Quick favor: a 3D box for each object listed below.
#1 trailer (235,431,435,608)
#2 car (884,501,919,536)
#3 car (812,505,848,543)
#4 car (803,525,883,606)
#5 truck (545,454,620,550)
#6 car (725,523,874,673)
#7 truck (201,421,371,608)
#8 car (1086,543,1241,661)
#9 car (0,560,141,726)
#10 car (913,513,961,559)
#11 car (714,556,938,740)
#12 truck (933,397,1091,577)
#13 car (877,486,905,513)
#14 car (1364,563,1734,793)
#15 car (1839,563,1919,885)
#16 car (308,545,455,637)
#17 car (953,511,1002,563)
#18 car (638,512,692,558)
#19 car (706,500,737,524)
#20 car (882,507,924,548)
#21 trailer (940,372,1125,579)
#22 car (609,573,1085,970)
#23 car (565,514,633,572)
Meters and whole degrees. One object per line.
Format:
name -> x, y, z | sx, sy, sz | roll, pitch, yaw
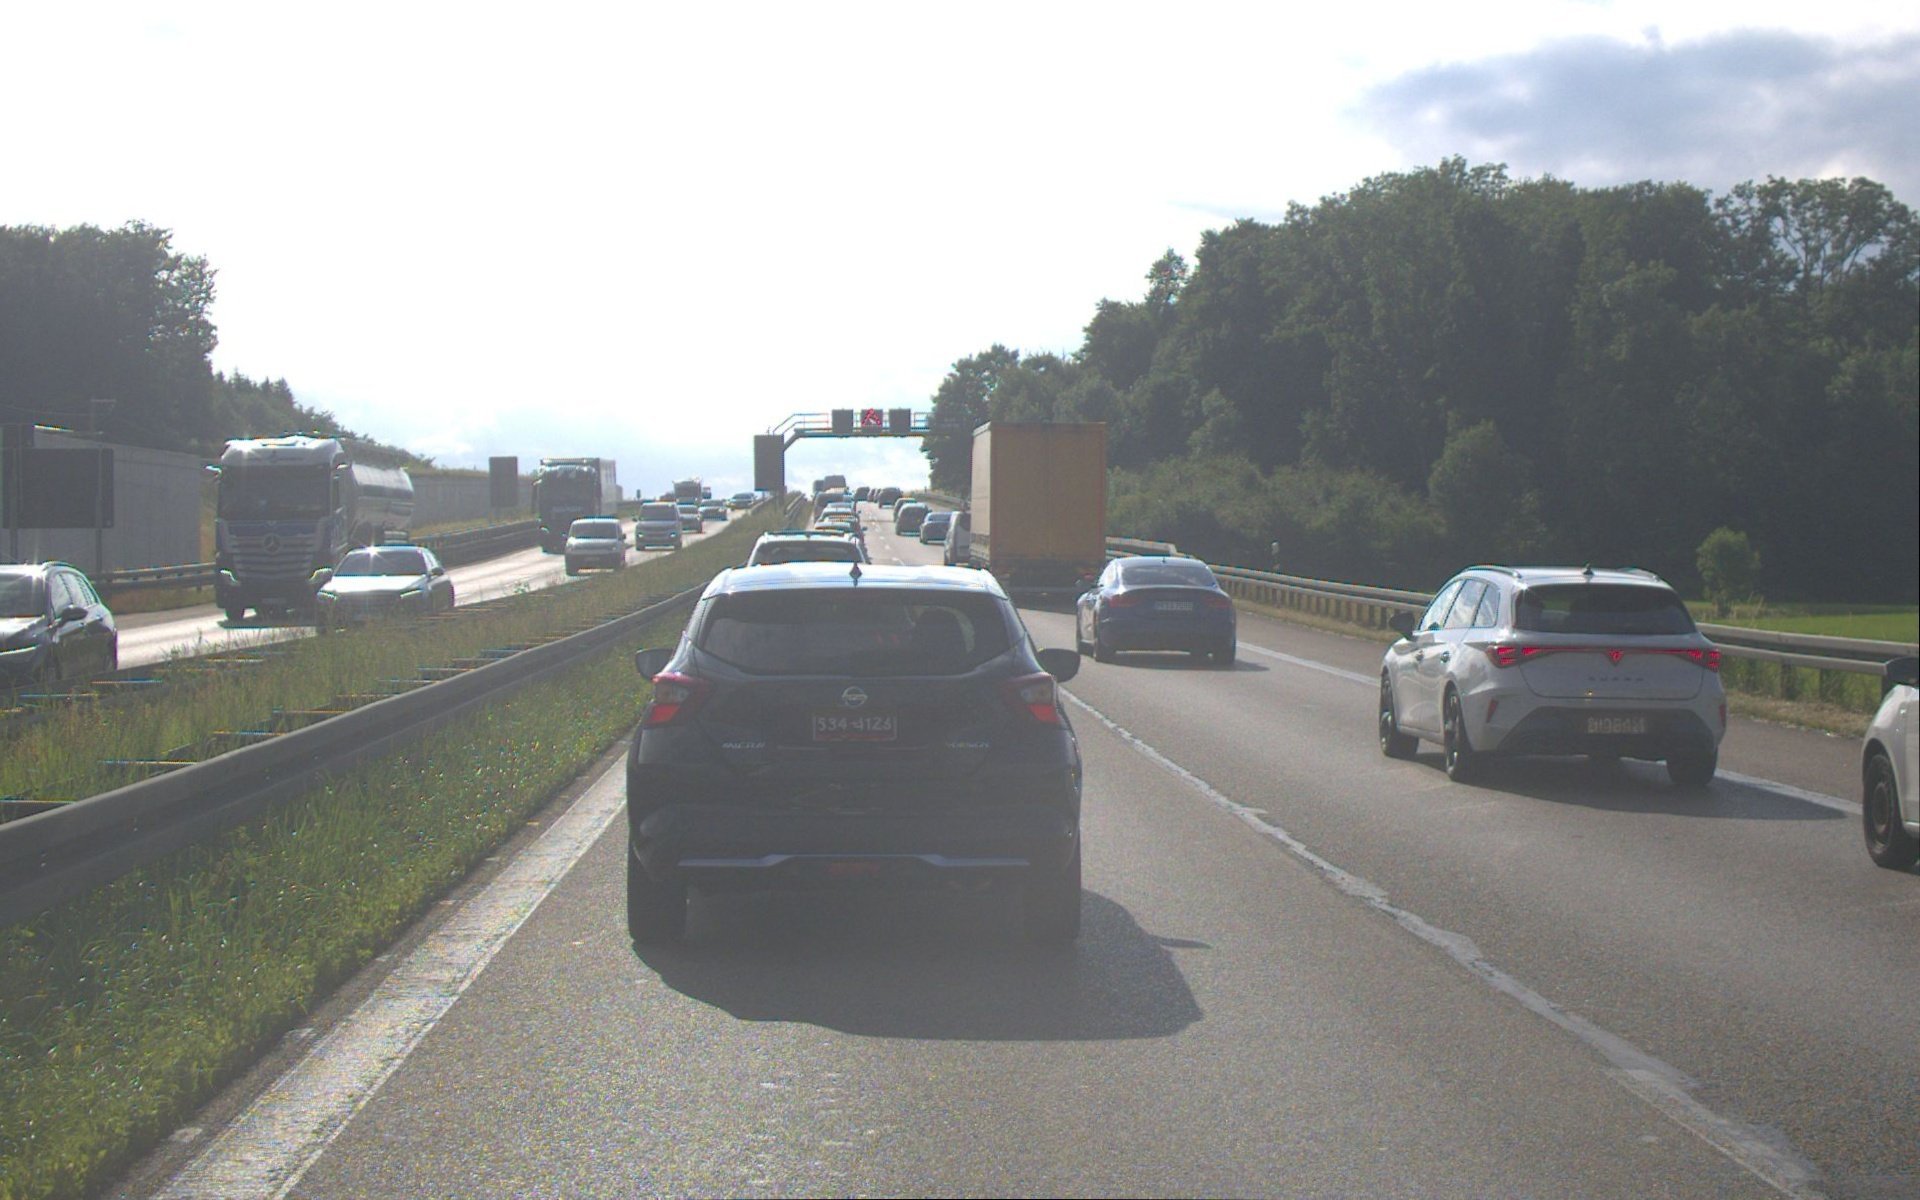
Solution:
trailer -> -14.429, -1.787, 80.364 | 2.540, 3.758, 12.542 | -1, 0, -1
car -> -3.555, -4.933, 207.734 | 1.993, 2.007, 4.000 | 1, 0, -3
car -> -7.297, -4.248, 192.873 | 1.993, 2.007, 4.000 | 1, 0, -3
car -> -3.046, -0.888, 89.111 | 1.993, 2.007, 4.000 | 1, 0, -3
truck -> -16.647, -4.279, 151.918 | 2.754, 4.076, 6.954 | 0, 0, -2
car -> -1.903, -0.030, 41.664 | 1.674, 1.720, 3.596 | 1, 0, -1
truck -> -14.283, -1.775, 73.190 | 2.552, 3.785, 5.417 | -1, 0, -1
car -> 2.658, 0.011, 45.701 | 1.747, 1.470, 4.147 | 1, 0, -1
car -> -9.318, 0.354, 32.789 | 1.993, 1.481, 4.398 | 1, 0, -1
car -> -1.059, -2.915, 156.781 | 1.993, 2.007, 4.000 | 1, 0, -3
car -> -1.034, 0.352, 27.714 | 1.674, 1.362, 3.596 | 1, 0, -1
truck -> 1.246, -2.800, 87.914 | 3.581, 4.365, 6.689 | 1, 0, -3
car -> -5.269, -7.650, 262.025 | 1.993, 2.007, 4.000 | 1, 0, -3
car -> 3.977, 0.480, 23.853 | 1.620, 1.441, 4.147 | 1, 0, -3
car -> 5.295, 0.608, 15.619 | 1.548, 1.490, 3.378 | 1, 1, -3
car -> -10.002, -0.170, 59.766 | 1.803, 1.511, 4.691 | 1, 0, -1
car -> 0.596, -2.187, 119.576 | 1.667, 1.749, 3.327 | 1, 0, 0
car -> -12.767, -2.809, 148.862 | 1.993, 1.877, 4.787 | -2, 0, -2
car -> -15.671, -5.777, 225.756 | 1.902, 1.459, 4.184 | 1, 0, -2
car -> -2.900, -3.694, 175.440 | 1.993, 2.007, 4.000 | 1, 0, -3
trailer -> 1.541, -2.746, 81.108 | 3.548, 4.442, 12.723 | 1, 0, -2
car -> -0.418, 0.612, 14.173 | 1.710, 1.421, 3.378 | 1, 0, 0
car -> -11.869, -1.861, 113.187 | 1.860, 1.827, 4.281 | 1, 0, -1
